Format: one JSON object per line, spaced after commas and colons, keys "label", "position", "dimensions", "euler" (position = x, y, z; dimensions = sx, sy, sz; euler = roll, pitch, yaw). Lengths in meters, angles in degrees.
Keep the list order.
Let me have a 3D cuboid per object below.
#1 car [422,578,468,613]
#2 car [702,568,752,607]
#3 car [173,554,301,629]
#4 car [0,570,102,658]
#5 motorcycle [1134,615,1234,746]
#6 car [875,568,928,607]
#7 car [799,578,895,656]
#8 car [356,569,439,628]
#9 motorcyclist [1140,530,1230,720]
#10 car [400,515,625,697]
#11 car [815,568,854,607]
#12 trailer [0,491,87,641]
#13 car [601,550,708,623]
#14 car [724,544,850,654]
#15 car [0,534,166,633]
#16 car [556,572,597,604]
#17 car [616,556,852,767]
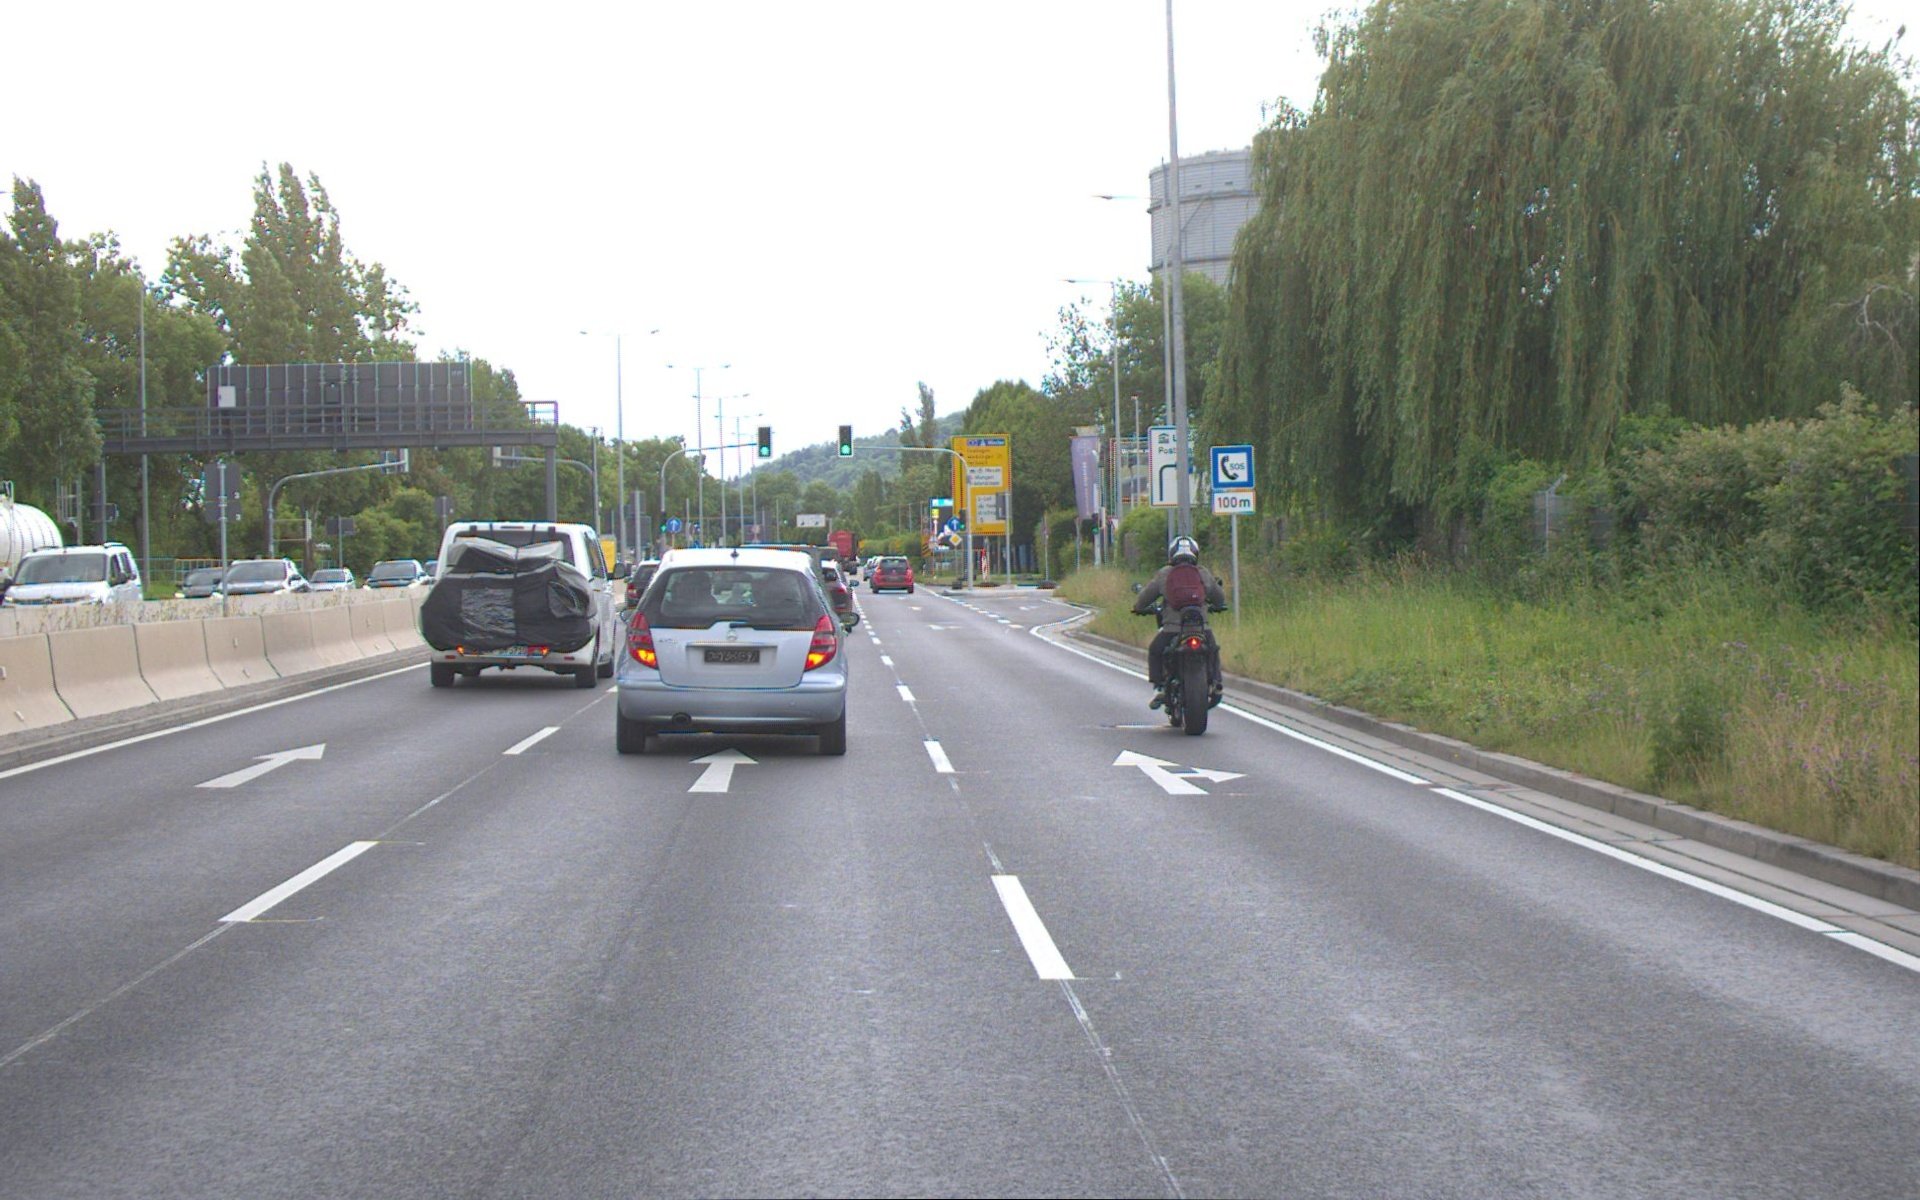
{"label": "car", "position": [-26.129, -0.217, 174.527], "dimensions": [1.877, 1.677, 3.928], "euler": [1, 1, -2]}
{"label": "car", "position": [-9.862, -0.544, 145.775], "dimensions": [1.993, 1.546, 4.001], "euler": [1, 1, -3]}
{"label": "car", "position": [-16.412, -0.228, 78.233], "dimensions": [1.993, 1.612, 4.697], "euler": [1, 1, -1]}
{"label": "car", "position": [-18.563, 0.251, 68.466], "dimensions": [1.993, 1.612, 4.697], "euler": [1, 1, -3]}
{"label": "motorcycle", "position": [1.923, 0.677, 29.740], "dimensions": [0.706, 1.036, 2.027], "euler": [1, 1, 0]}
{"label": "car", "position": [-2.433, -0.538, 142.269], "dimensions": [1.993, 1.546, 4.001], "euler": [1, 1, -3]}
{"label": "car", "position": [-2.277, 0.323, 69.283], "dimensions": [1.840, 1.459, 4.000], "euler": [1, 1, -2]}
{"label": "car", "position": [-17.399, -0.066, 106.485], "dimensions": [1.993, 1.733, 4.000], "euler": [1, 1, -1]}
{"label": "motorcyclist", "position": [1.936, 0.209, 29.710], "dimensions": [0.685, 1.604, 0.845], "euler": [1, 1, 0]}
{"label": "car", "position": [-5.070, 0.033, 39.591], "dimensions": [2.214, 1.919, 5.003], "euler": [1, 1, -4]}
{"label": "car", "position": [-6.621, -0.672, 181.258], "dimensions": [1.993, 2.007, 4.000], "euler": [1, 1, -2]}
{"label": "trailer", "position": [-22.209, -0.804, 76.447], "dimensions": [3.100, 3.209, 11.670], "euler": [1, 1, -3]}
{"label": "car", "position": [-6.777, -0.313, 76.654], "dimensions": [1.993, 1.546, 4.000], "euler": [1, 1, 0]}
{"label": "car", "position": [-2.754, -0.044, 55.377], "dimensions": [1.907, 1.678, 4.000], "euler": [1, 1, -2]}
{"label": "car", "position": [-15.127, -0.308, 59.297], "dimensions": [1.993, 1.612, 4.697], "euler": [1, 1, -3]}
{"label": "car", "position": [-21.115, -0.696, 189.427], "dimensions": [1.877, 1.677, 4.126], "euler": [1, 1, -2]}
{"label": "car", "position": [-1.751, 0.430, 27.430], "dimensions": [1.710, 1.525, 4.000], "euler": [1, 1, -2]}
